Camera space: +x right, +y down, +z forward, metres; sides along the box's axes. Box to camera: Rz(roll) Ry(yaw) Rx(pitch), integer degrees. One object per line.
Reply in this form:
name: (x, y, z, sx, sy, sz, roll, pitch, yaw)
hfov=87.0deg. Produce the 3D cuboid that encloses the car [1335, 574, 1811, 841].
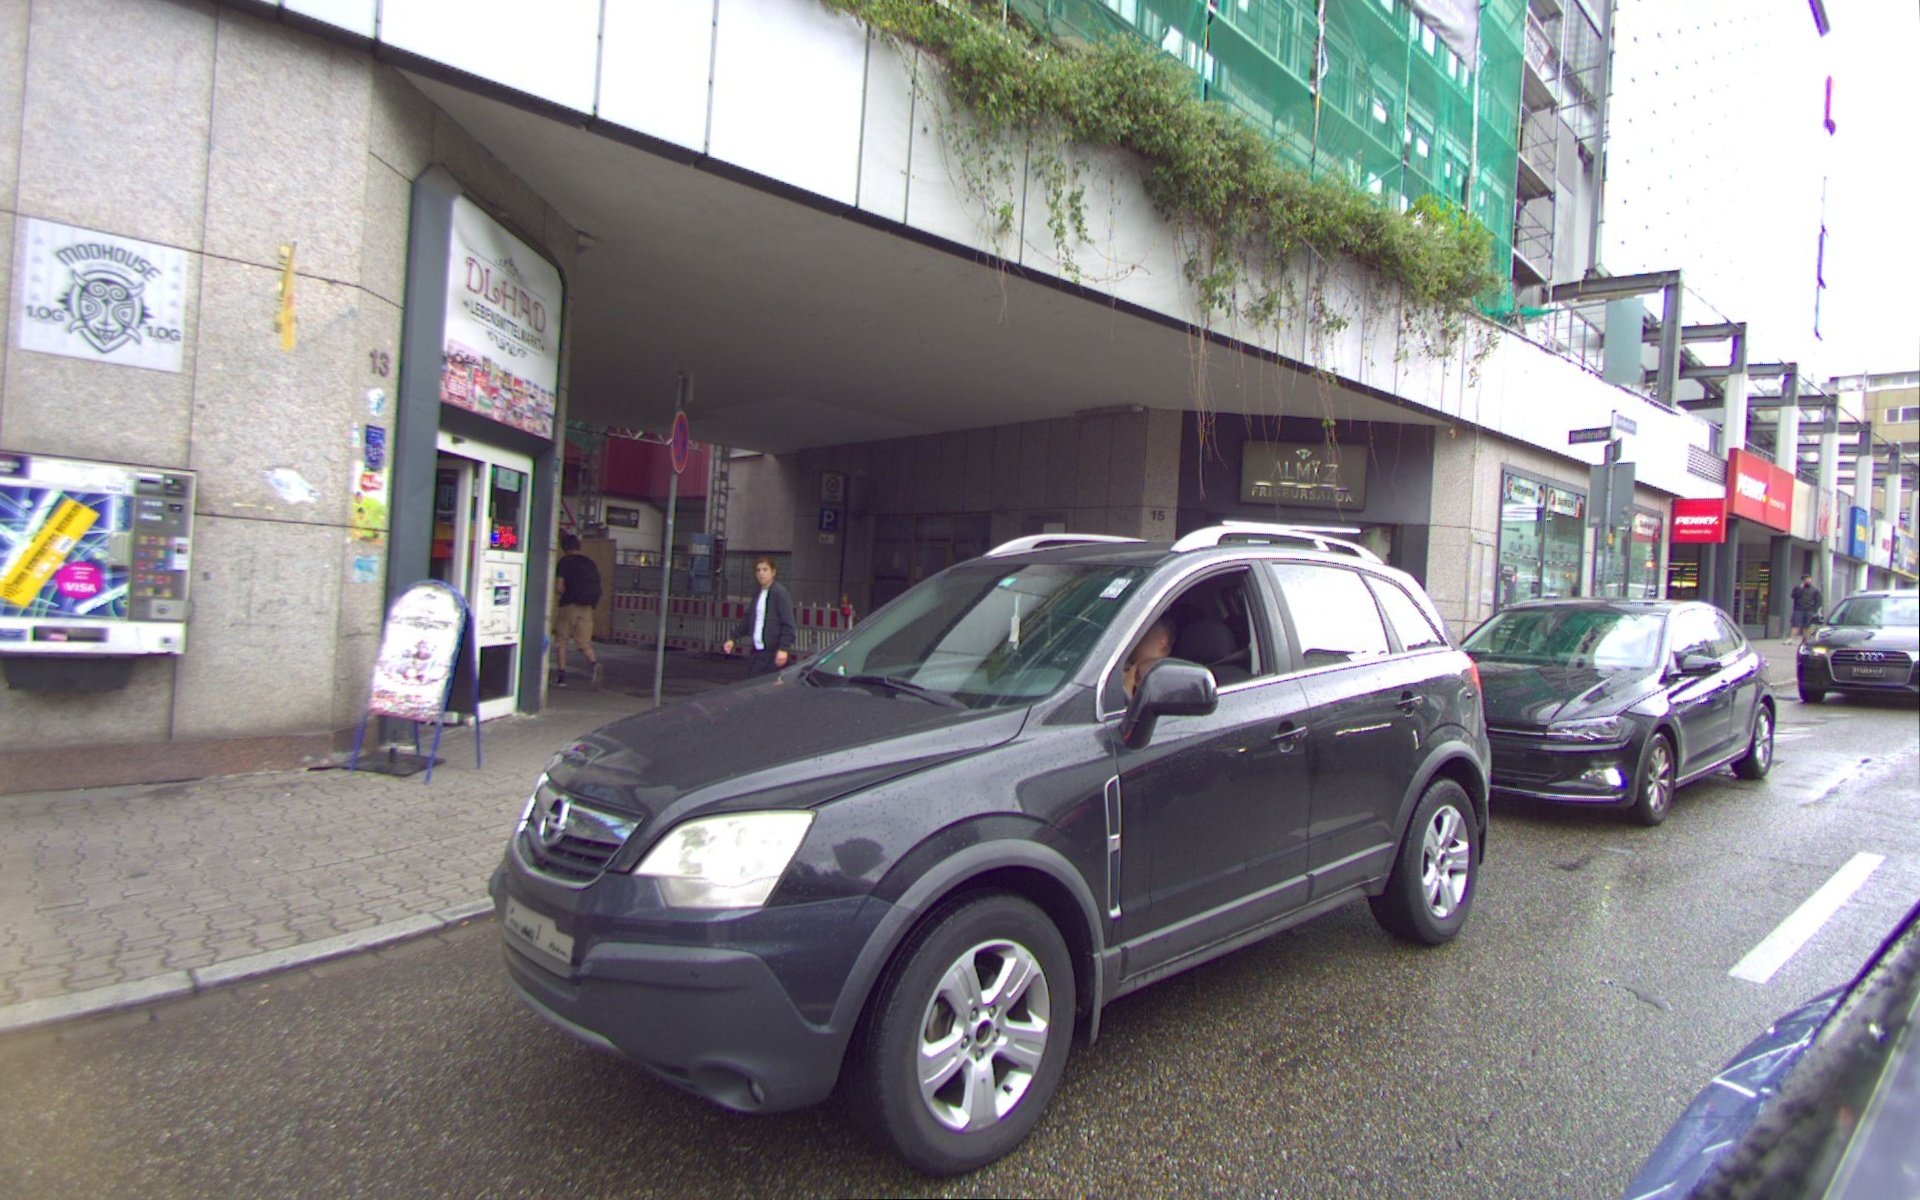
car: (4.816, 0.628, 7.734, 4.086, 1.523, 1.759, 1, 0, -38)

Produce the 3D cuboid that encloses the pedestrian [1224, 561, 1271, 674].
pedestrian: (4.211, 0.245, 14.820, 0.630, 1.615, 0.574, 0, 1, 17)

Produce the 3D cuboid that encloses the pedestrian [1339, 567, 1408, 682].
pedestrian: (6.180, 0.350, 15.160, 0.626, 1.663, 0.735, -1, 1, -17)

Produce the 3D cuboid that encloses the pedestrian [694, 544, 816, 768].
pedestrian: (-1.796, 0.447, 8.844, 0.760, 1.838, 0.743, 0, 3, -40)

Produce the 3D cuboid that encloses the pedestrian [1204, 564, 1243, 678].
pedestrian: (4.054, 0.313, 15.599, 0.474, 1.729, 0.467, -1, 0, 1)

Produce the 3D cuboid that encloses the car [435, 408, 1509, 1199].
car: (0.405, 0.535, 3.987, 4.090, 1.788, 1.763, 1, 0, -41)

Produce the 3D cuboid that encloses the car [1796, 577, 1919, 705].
car: (13.589, 0.498, 14.425, 4.089, 1.628, 1.841, -1, 1, -39)

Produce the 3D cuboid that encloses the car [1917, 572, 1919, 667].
car: (19.700, 0.389, 19.010, 4.088, 1.728, 1.988, 1, 0, -39)

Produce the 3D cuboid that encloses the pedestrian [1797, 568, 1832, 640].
pedestrian: (20.567, 0.079, 24.359, 0.570, 1.699, 0.509, -1, 3, -42)

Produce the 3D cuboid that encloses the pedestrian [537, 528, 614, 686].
pedestrian: (-4.715, 0.059, 12.401, 0.757, 1.837, 0.745, 0, 5, -29)
